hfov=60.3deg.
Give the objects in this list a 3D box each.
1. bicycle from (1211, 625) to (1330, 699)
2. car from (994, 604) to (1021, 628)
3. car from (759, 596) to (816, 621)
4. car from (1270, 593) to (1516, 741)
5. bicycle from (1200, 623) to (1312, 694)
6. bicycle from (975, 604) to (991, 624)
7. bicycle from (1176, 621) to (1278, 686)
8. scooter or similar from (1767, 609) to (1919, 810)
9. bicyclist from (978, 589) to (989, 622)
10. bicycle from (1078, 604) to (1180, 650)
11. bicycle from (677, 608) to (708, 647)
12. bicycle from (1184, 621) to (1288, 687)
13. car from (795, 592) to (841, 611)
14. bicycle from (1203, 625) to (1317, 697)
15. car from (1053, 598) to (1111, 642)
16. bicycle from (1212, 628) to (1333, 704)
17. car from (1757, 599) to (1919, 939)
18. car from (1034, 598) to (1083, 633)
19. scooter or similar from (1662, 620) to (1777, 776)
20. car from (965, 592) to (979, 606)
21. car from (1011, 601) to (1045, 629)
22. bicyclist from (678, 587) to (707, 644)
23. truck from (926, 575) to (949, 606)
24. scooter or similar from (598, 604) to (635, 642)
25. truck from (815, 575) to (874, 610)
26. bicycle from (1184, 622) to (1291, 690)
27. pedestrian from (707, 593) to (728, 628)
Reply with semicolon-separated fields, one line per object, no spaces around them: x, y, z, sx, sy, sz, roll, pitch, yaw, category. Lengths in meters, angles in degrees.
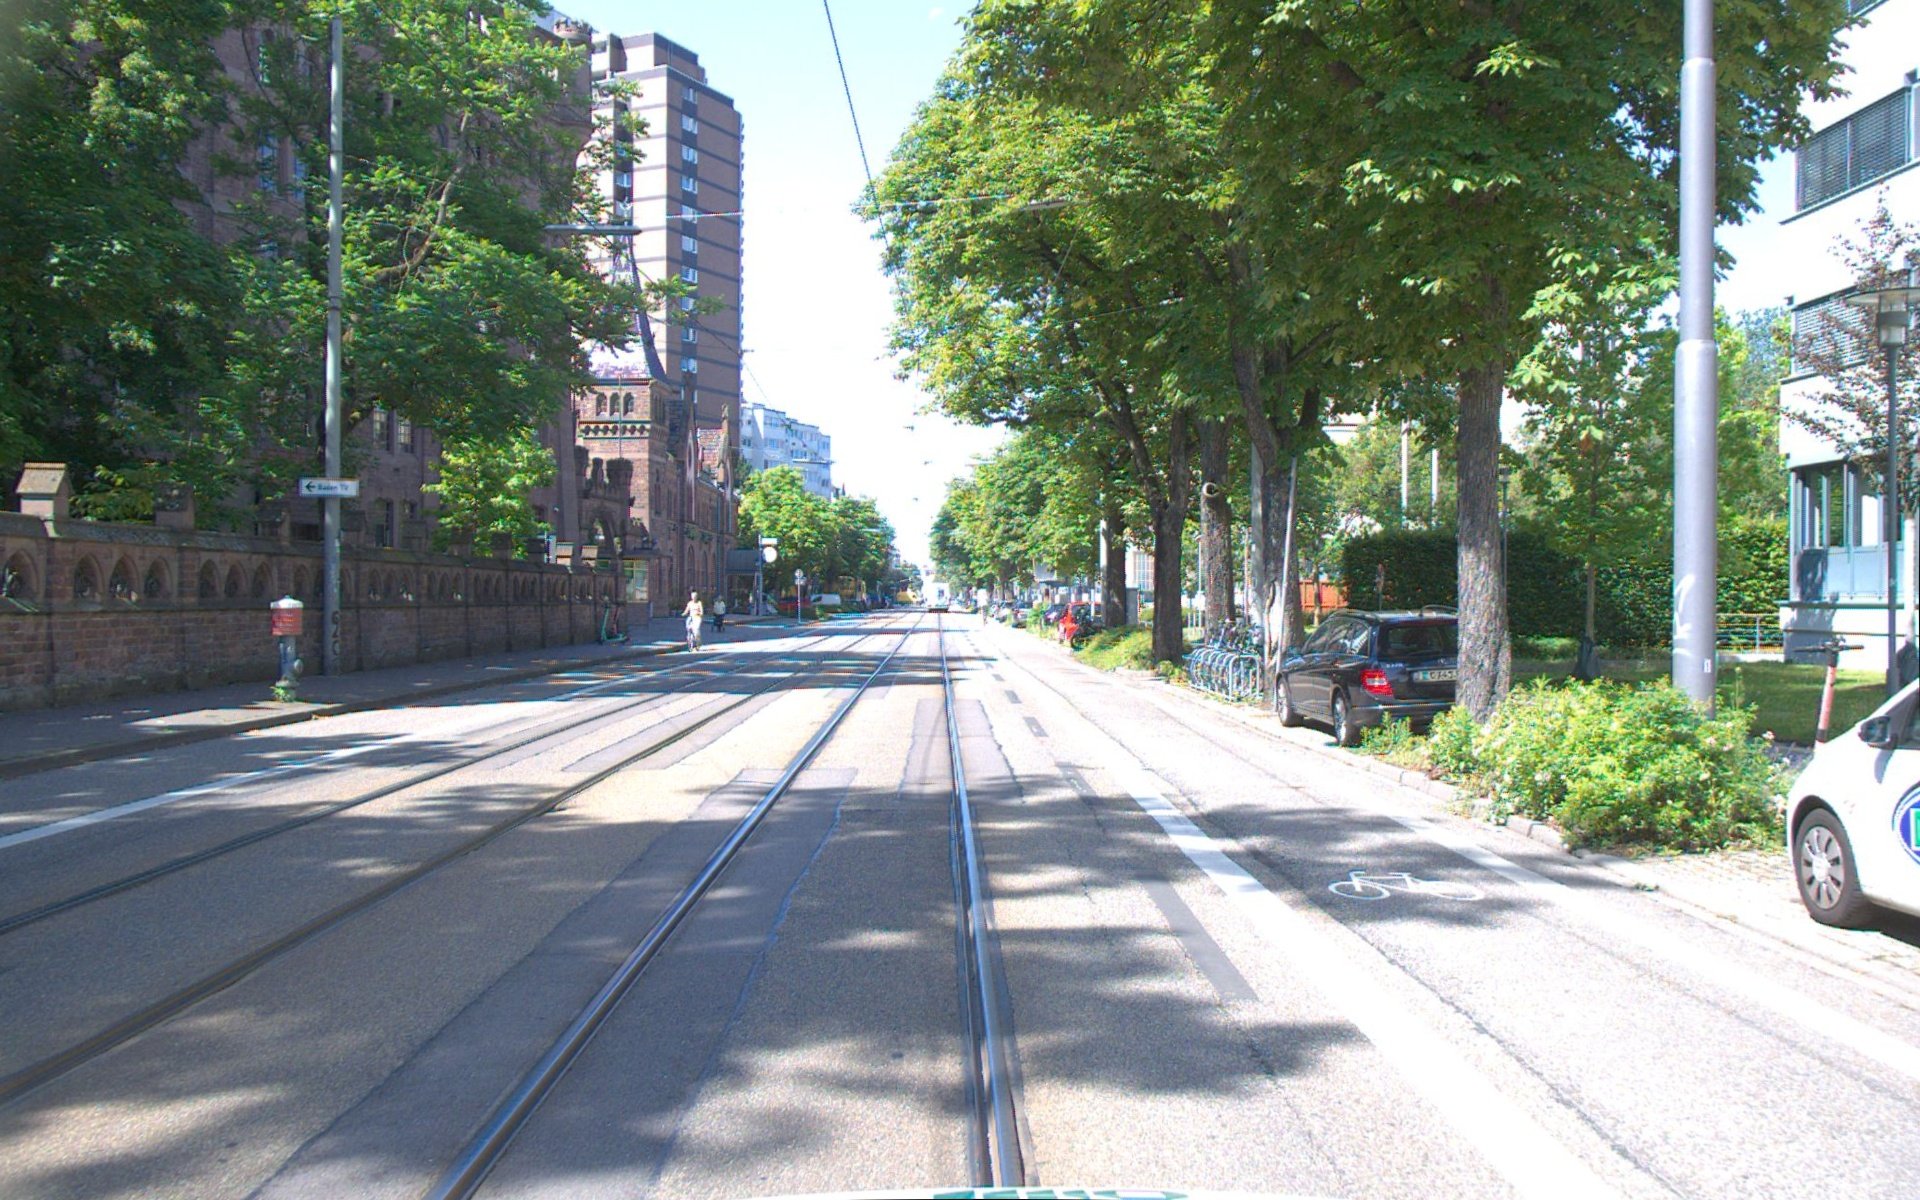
4.764;0.945;25.460;1.689;1.105;0.696;0;0;-2;bicycle
3.098;1.016;107.563;1.596;1.498;4.113;0;0;-1;car
-13.025;0.662;125.228;3.959;1.842;1.864;0;0;-38;car
4.884;0.684;19.249;1.597;1.509;4.271;0;0;-2;car
4.775;0.940;26.703;1.689;1.105;0.589;0;0;-2;bicycle
1.341;0.831;96.275;0.838;1.129;2.139;0;0;-1;bicycle
4.643;0.922;28.789;1.689;1.105;0.478;0;0;-2;bicycle
6.129;0.725;11.505;0.463;1.324;1.157;0;0;0;scooter or similar
1.375;0.298;96.195;0.623;1.904;1.024;0;0;-1;bicyclist
5.007;0.782;49.082;2.965;1.355;1.041;0;0;2;bicycle
-8.170;0.821;50.613;0.649;1.174;2.014;0;0;0;bicycle
4.714;0.917;28.306;1.689;1.105;0.478;0;0;-2;bicycle
-13.608;0.139;158.295;3.947;1.780;1.979;0;0;-31;car
4.720;0.951;26.109;1.689;1.105;0.570;0;0;-2;bicycle
4.273;0.677;58.154;1.597;1.498;3.717;0;0;-3;car
4.670;0.980;24.799;1.689;1.105;0.628;0;0;-2;bicycle
5.019;0.743;6.966;1.596;1.498;3.630;0;0;0;car
4.028;0.625;68.006;1.597;1.378;3.899;0;0;-3;car
6.126;0.765;13.388;0.393;1.194;1.157;0;0;0;scooter or similar
1.419;-0.103;194.810;1.596;1.596;4.113;0;0;-1;car
3.673;0.791;89.684;1.596;1.498;4.113;0;0;-1;car
-8.161;0.463;50.482;0.710;1.728;1.146;0;0;-1;bicyclist
-2.312;-0.947;170.031;2.353;3.163;6.036;0;0;-1;truck
-10.416;0.685;50.132;0.327;1.149;1.181;0;0;38;scooter or similar
-13.032;-0.815;187.180;2.755;3.927;10.001;0;0;21;truck
4.652;0.938;27.762;1.689;1.105;0.615;0;0;-2;bicycle
-10.776;0.443;73.439;0.867;1.538;1.472;0;0;-9;pedestrian
